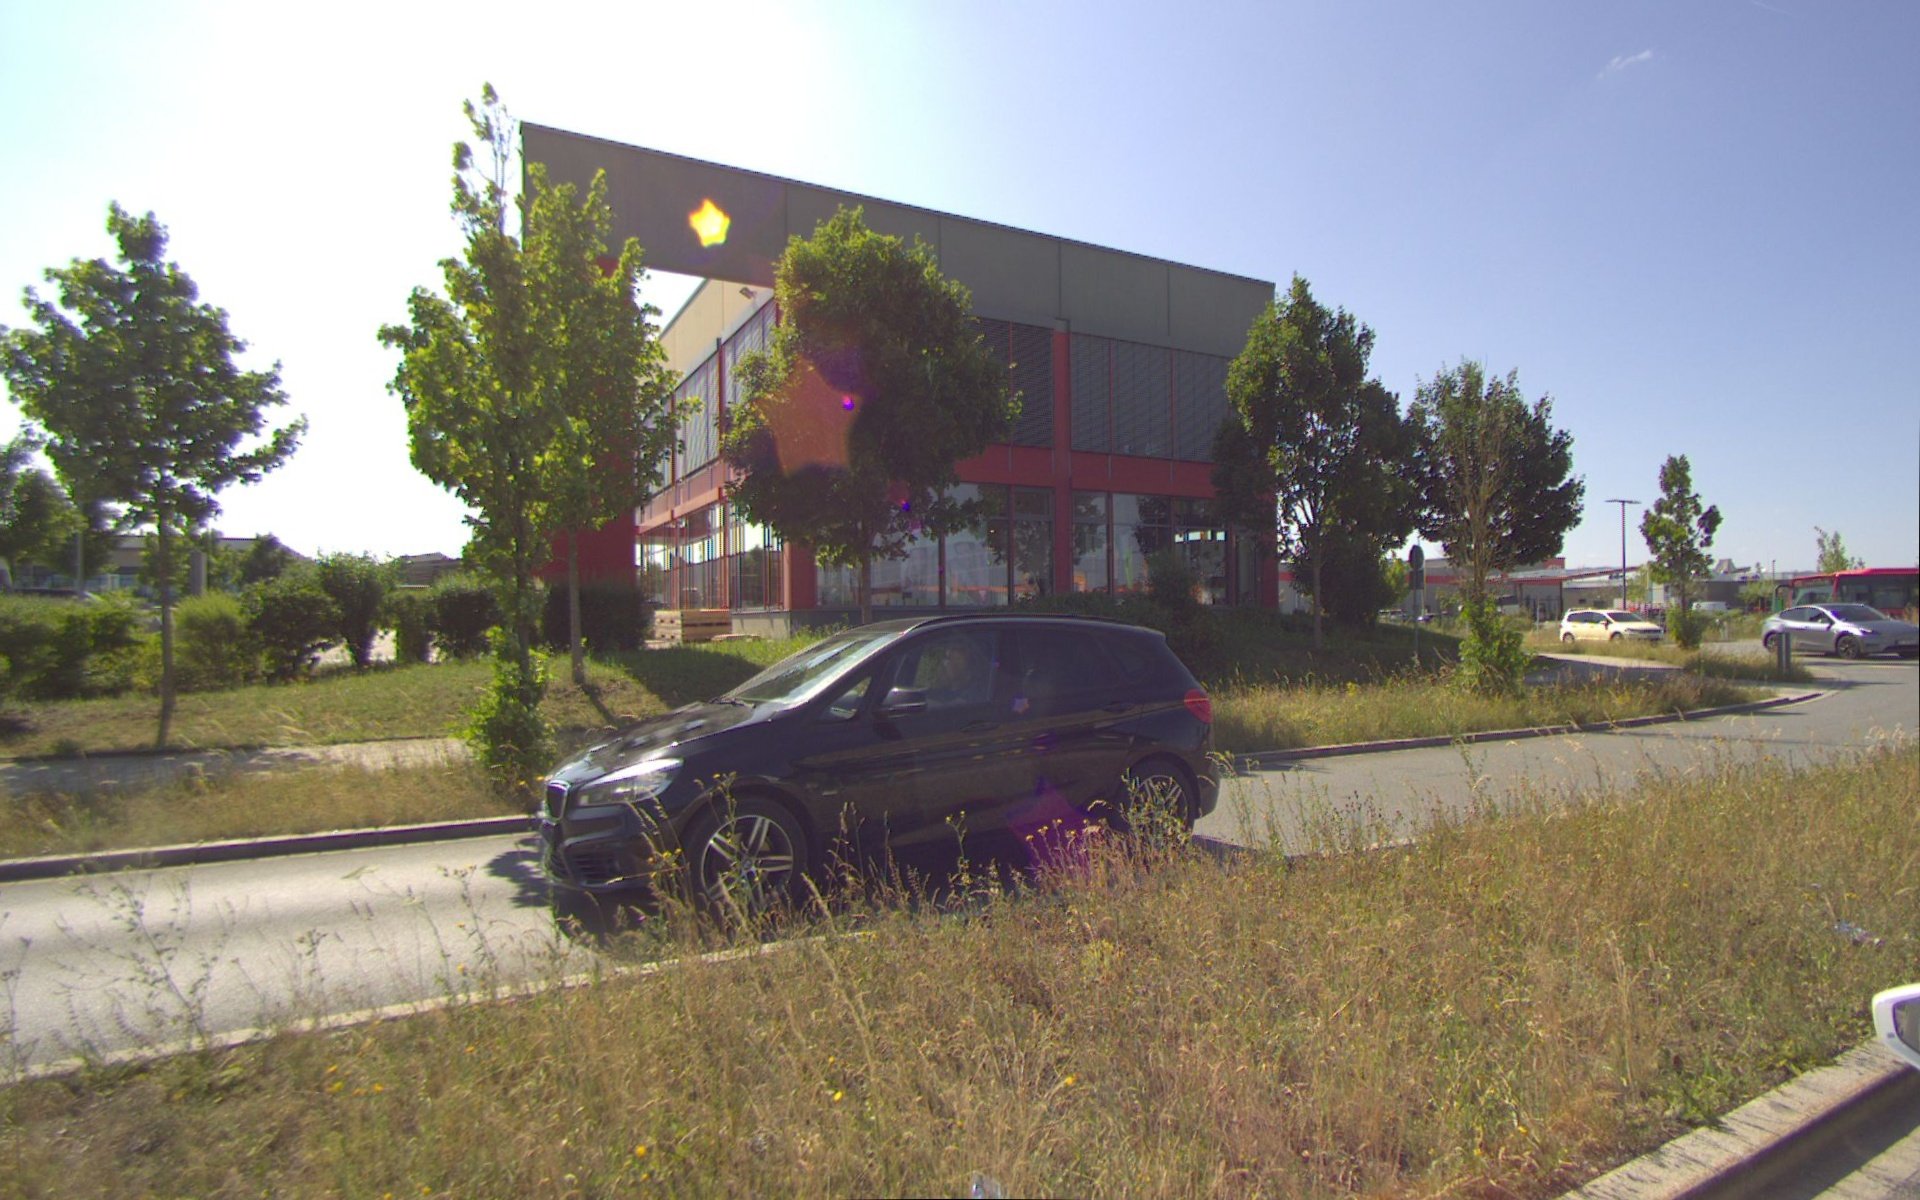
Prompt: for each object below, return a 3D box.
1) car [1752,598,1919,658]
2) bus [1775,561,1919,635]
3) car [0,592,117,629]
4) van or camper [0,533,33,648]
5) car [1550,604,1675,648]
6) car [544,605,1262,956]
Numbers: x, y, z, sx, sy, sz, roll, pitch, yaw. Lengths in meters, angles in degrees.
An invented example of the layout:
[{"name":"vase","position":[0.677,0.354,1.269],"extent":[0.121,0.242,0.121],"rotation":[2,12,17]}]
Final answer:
[{"name":"car","position":[26.680,0.805,30.606],"extent":[1.924,1.648,4.627],"rotation":[-2,0,8]},{"name":"bus","position":[44.303,-0.172,45.973],"extent":[11.966,3.120,2.796],"rotation":[-2,-1,-3]},{"name":"car","position":[-40.618,0.502,45.051],"extent":[4.036,1.608,1.653],"rotation":[1,-1,-30]},{"name":"van or camper","position":[-31.358,-0.291,28.391],"extent":[7.147,3.314,2.419],"rotation":[1,-1,-29]},{"name":"car","position":[27.571,1.149,42.658],"extent":[1.813,1.687,4.584],"rotation":[-2,-2,-9]},{"name":"car","position":[-0.259,0.877,6.333],"extent":[4.191,1.563,1.751],"rotation":[1,-3,-30]}]
